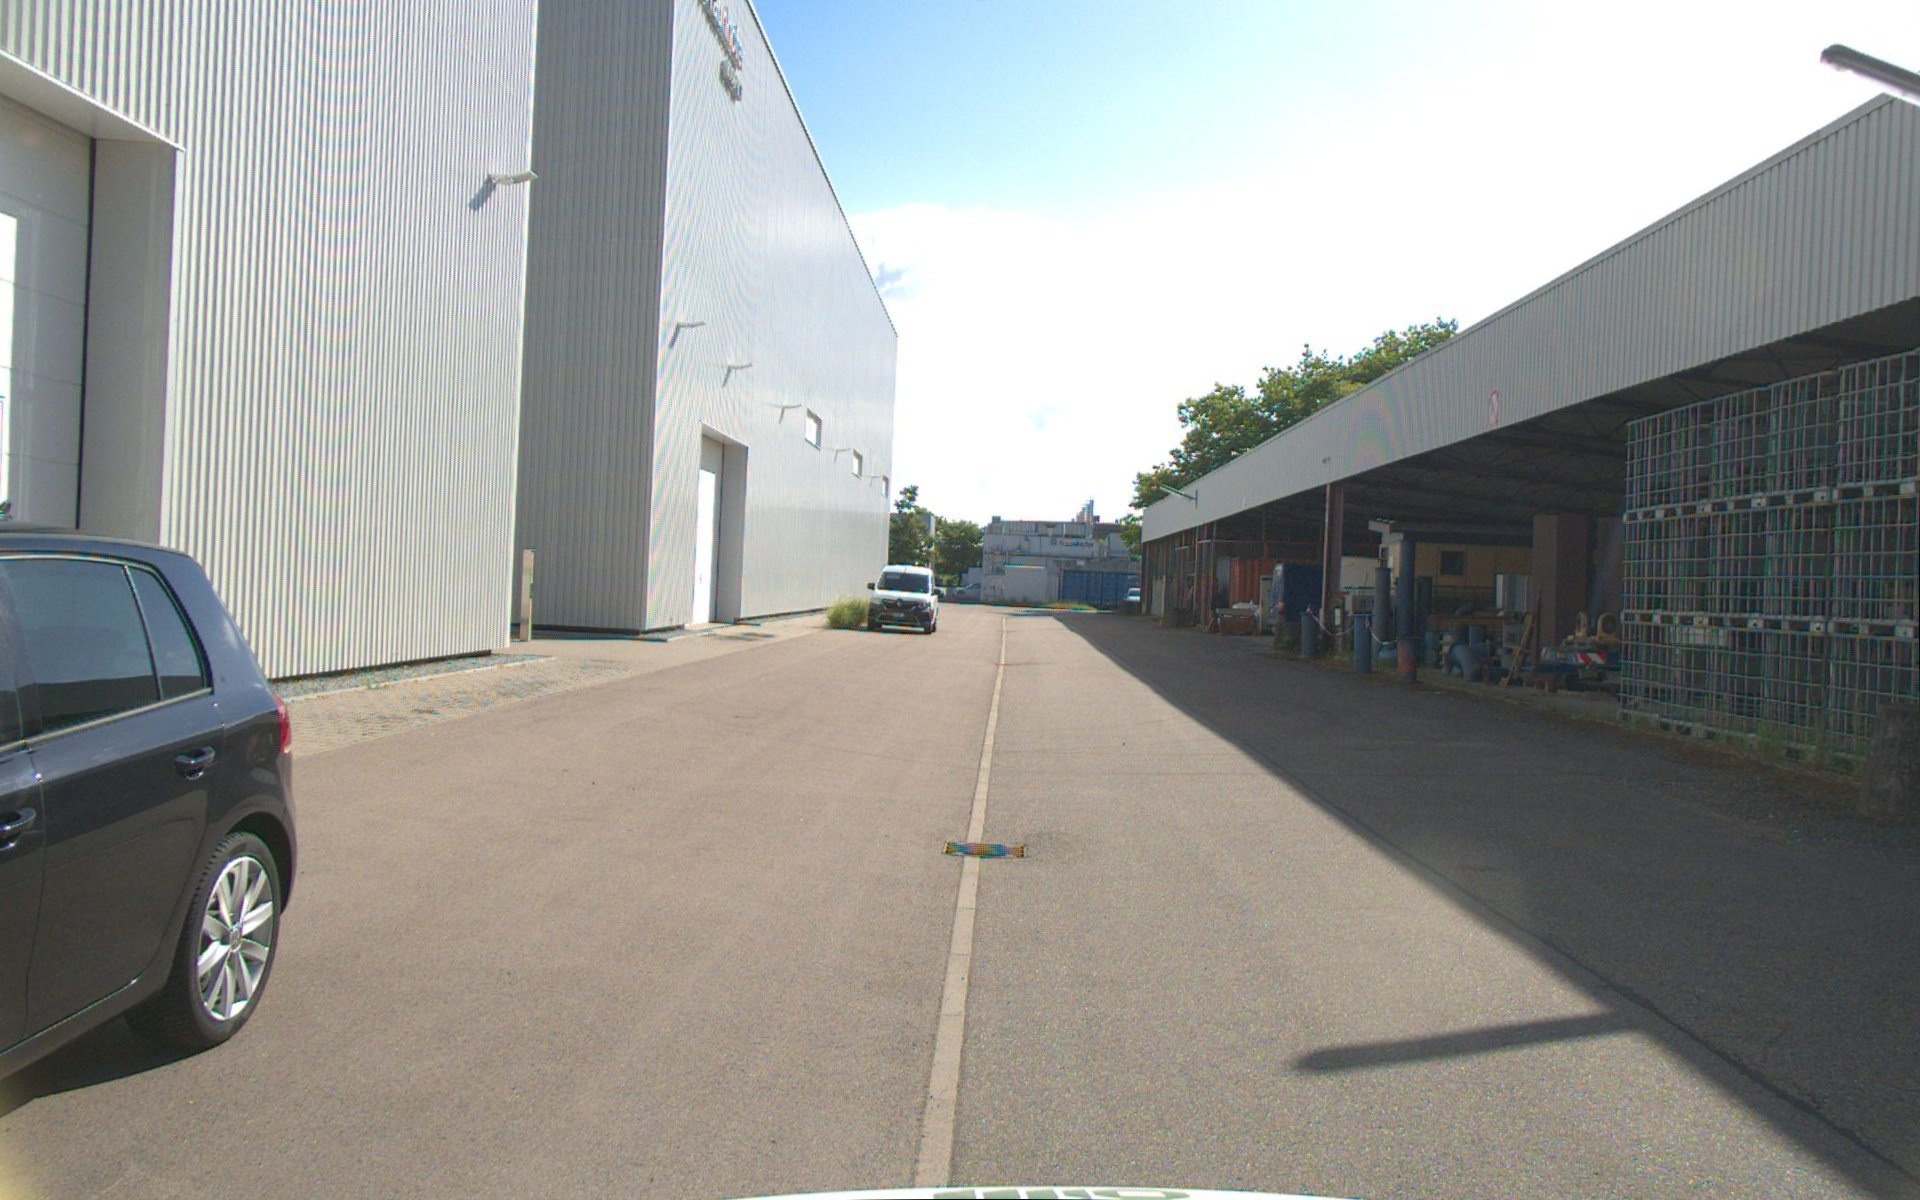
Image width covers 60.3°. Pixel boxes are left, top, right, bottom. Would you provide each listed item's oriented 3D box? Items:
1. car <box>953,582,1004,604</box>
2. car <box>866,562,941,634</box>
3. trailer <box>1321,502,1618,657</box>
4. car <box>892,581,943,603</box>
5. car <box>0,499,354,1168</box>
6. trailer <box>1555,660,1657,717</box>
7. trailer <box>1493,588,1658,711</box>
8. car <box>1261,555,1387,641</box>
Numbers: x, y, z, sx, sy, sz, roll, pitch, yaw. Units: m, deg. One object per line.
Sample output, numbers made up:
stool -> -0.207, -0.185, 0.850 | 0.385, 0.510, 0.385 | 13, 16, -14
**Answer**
car -> 1.431, -0.570, 127.245 | 3.803, 1.487, 1.624 | 3, 0, 4
car -> -1.532, -0.075, 46.112 | 1.869, 1.825, 4.000 | 3, 0, 0
trailer -> 12.222, -0.490, 40.110 | 6.257, 3.429, 2.825 | 2, 0, 0
car -> -3.296, -0.608, 128.138 | 3.805, 1.487, 1.623 | 3, 0, 1
car -> -2.875, 0.447, 3.388 | 1.617, 1.471, 3.879 | 5, 0, 2
trailer -> 8.208, 1.125, 21.041 | 0.951, 0.577, 0.732 | 5, 2, -3
trailer -> 8.977, 0.698, 24.249 | 1.515, 1.544, 1.913 | 5, 2, -3
car -> 11.236, -0.064, 51.279 | 3.432, 2.484, 2.001 | 2, 0, 2
